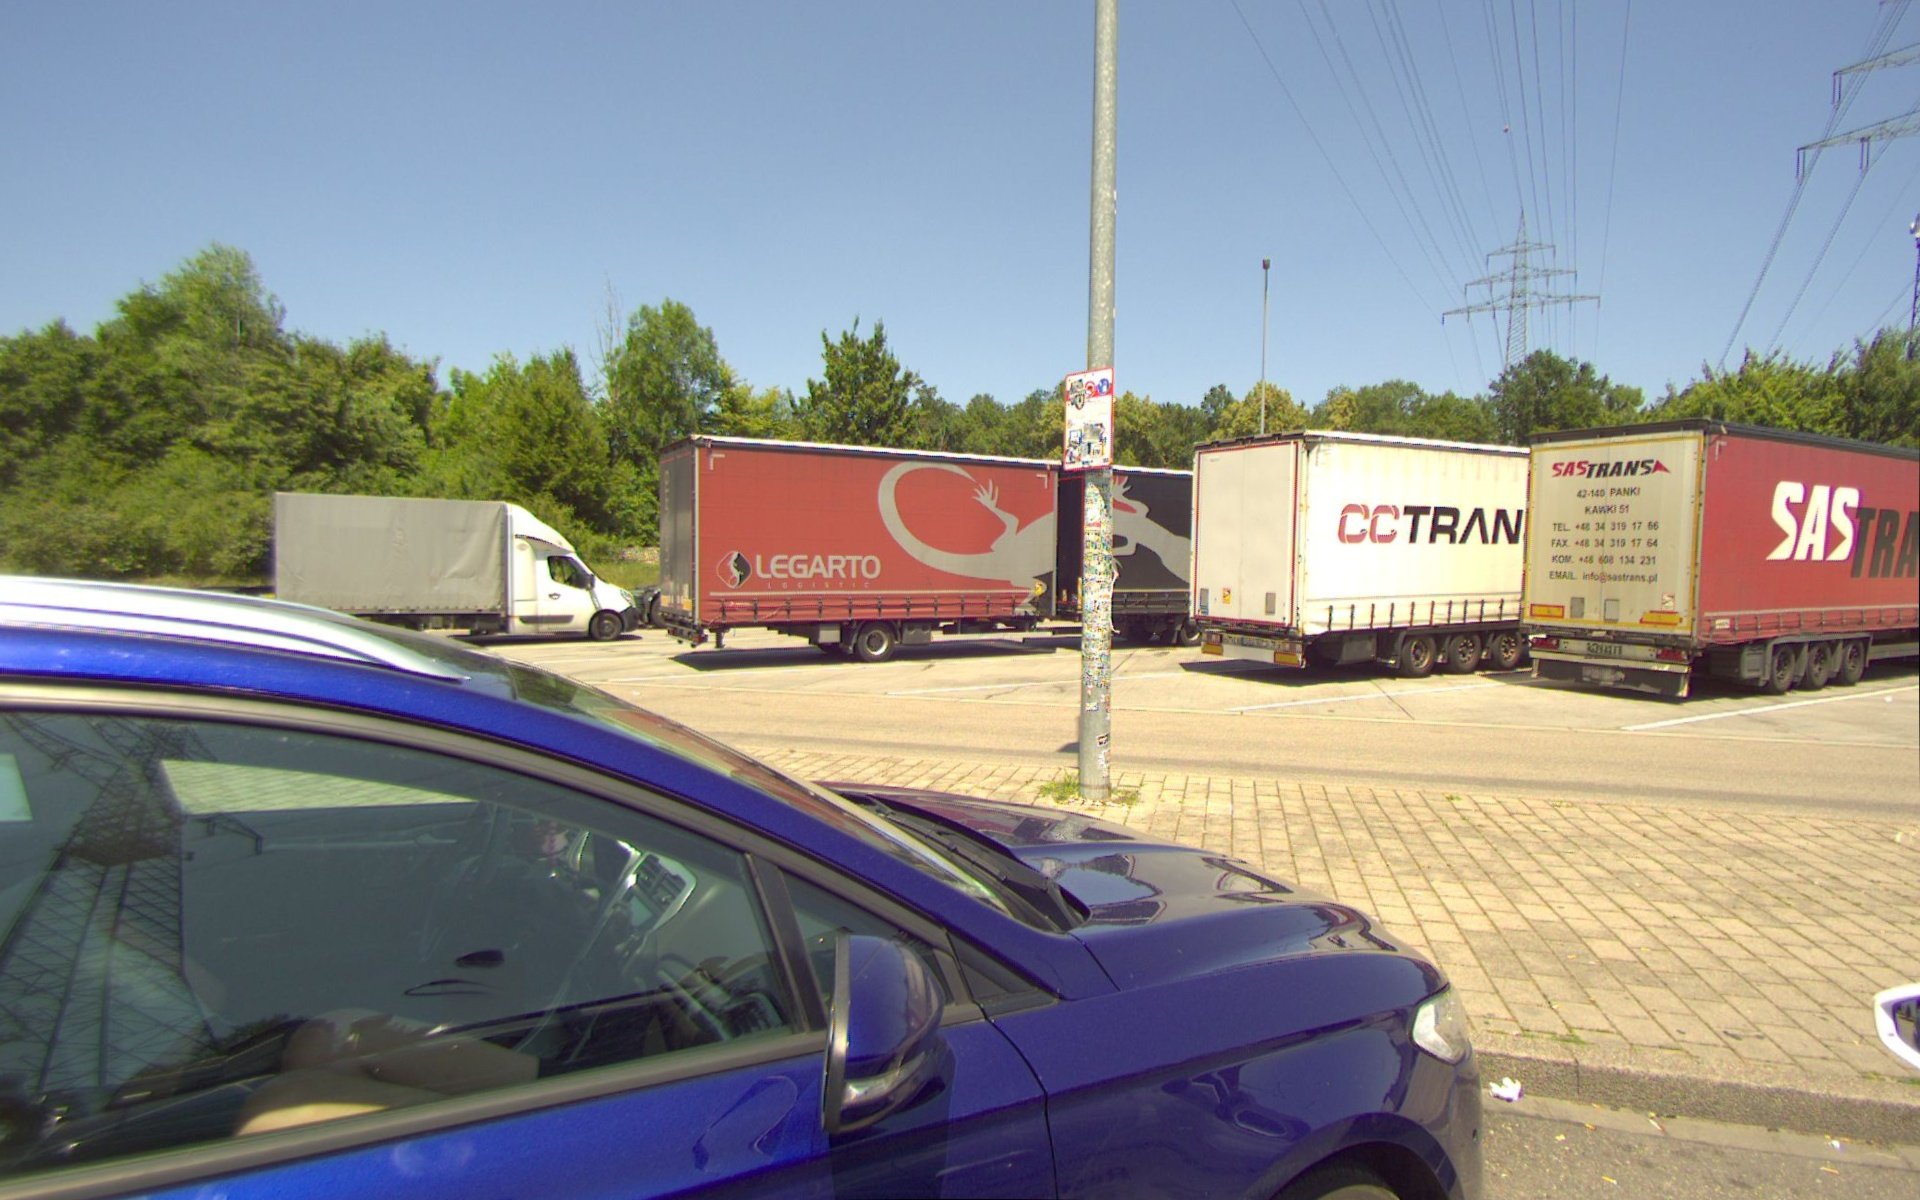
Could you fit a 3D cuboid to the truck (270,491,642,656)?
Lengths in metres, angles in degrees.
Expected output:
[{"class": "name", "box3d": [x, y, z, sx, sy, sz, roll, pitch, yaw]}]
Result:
[{"class": "truck", "box3d": [-11.243, -0.621, 22.996, 7.187, 3.289, 2.694, -1, 3, -29]}]

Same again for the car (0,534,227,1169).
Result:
[{"class": "car", "box3d": [-4.420, 0.581, 2.089, 4.522, 1.526, 1.743, 0, 2, -32]}]

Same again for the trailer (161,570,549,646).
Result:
[{"class": "trailer", "box3d": [-14.753, 0.106, 25.235, 8.007, 1.648, 2.199, -1, 3, -30]}]

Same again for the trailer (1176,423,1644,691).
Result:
[{"class": "trailer", "box3d": [8.968, -0.770, 19.344, 10.264, 4.158, 2.693, -1, 3, -30]}]

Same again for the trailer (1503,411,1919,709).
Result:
[{"class": "trailer", "box3d": [15.462, -0.676, 18.609, 13.599, 4.127, 2.807, -1, 3, -31]}]

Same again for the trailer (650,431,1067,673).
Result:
[{"class": "trailer", "box3d": [-1.885, -0.902, 20.331, 8.007, 4.127, 2.693, -1, 3, -30]}]

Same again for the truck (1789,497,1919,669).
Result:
[{"class": "truck", "box3d": [21.254, -0.403, 22.046, 5.903, 3.409, 2.798, -1, 3, -30]}]

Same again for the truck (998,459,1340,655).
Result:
[{"class": "truck", "box3d": [5.268, -0.998, 24.539, 8.585, 4.127, 2.693, -1, 3, -30]}]

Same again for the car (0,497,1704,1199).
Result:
[{"class": "car", "box3d": [-0.978, 0.653, 1.452, 4.522, 1.491, 1.743, 0, 2, -32]}]
